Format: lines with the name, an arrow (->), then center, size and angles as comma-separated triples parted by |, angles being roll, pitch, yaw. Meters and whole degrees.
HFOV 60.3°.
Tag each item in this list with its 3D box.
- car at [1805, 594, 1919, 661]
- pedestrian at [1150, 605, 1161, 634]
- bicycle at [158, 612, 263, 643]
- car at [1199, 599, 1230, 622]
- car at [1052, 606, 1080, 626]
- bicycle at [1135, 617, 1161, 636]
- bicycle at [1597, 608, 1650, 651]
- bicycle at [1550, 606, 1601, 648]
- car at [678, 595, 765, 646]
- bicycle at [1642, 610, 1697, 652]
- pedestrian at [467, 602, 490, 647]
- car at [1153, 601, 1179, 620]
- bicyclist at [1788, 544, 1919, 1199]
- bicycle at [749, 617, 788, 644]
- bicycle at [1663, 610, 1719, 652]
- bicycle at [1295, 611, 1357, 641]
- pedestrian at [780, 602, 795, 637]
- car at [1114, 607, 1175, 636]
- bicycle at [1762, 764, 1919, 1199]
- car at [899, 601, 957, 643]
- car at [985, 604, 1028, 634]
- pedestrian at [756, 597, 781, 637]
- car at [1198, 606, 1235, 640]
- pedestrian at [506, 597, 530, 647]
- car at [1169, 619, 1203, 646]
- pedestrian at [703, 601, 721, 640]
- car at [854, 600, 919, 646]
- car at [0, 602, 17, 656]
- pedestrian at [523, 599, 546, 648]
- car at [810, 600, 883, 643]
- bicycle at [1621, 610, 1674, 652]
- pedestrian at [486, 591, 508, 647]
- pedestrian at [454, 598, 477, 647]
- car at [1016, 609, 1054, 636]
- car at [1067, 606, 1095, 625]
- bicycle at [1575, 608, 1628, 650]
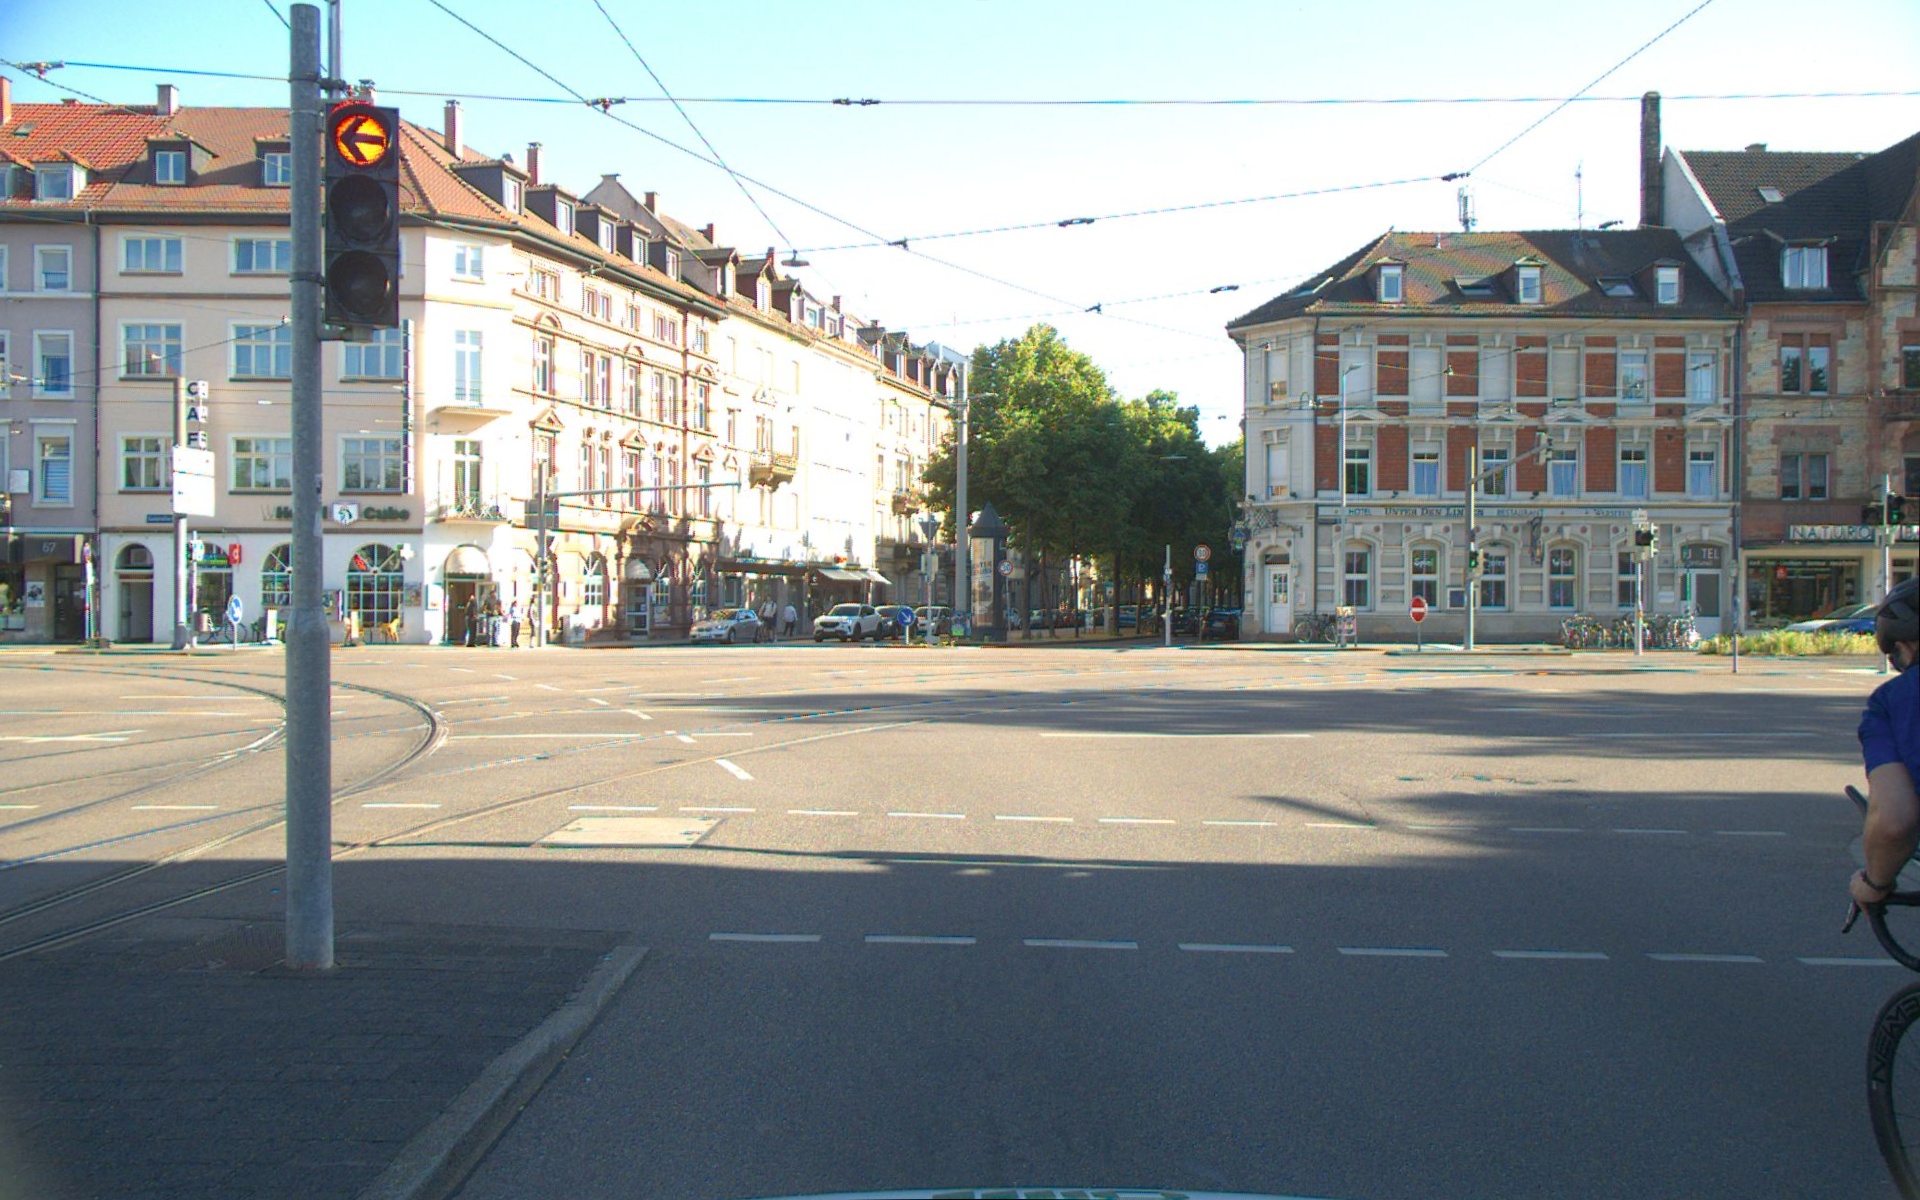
car -> 25.880, 0.768, 46.051 | 3.706, 1.809, 1.999 | 1, 0, -2
pedestrian -> 12.270, 1.203, 103.977 | 0.626, 1.827, 0.491 | 1, -1, 12
bicycle -> -25.520, 0.942, 56.352 | 3.066, 0.997, 1.001 | 1, 0, -1
car -> 18.572, 0.770, 120.481 | 1.734, 1.557, 4.002 | 1, 0, 16
car -> 8.481, 1.259, 132.164 | 1.526, 1.540, 3.658 | 1, 0, 16
bicycle -> 11.278, 1.572, 99.225 | 0.619, 1.104, 1.685 | 1, 0, -31
bicycle -> 21.303, 0.932, 53.151 | 0.615, 1.309, 2.661 | 1, 0, 0
bicycle -> 19.779, 0.847, 53.212 | 0.678, 1.309, 2.661 | 1, 0, 0
car -> -9.617, 0.817, 66.925 | 1.951, 1.937, 4.002 | 1, 0, 17
bicycle -> 22.796, 0.968, 53.178 | 0.615, 1.309, 2.661 | 1, 0, 0
pedestrian -> -16.243, 0.837, 55.785 | 0.620, 1.502, 0.465 | 1, -1, -5
car -> 16.808, 0.838, 134.931 | 1.526, 1.540, 3.658 | 1, 0, 16
bicyclist -> 2.215, 0.651, 3.357 | 0.625, 1.520, 0.884 | 1, 1, 3
bicycle -> -7.533, 1.206, 65.160 | 0.746, 1.025, 2.398 | 1, 0, 13
bicycle -> 23.480, 0.984, 53.176 | 0.615, 1.309, 2.661 | 1, 0, 0
bicycle -> 12.677, 0.909, 57.262 | 2.006, 1.015, 0.631 | 0, -1, 2
pedestrian -> -8.429, 0.952, 80.825 | 0.532, 1.660, 0.707 | 1, -1, 13
car -> 12.846, 1.466, 115.154 | 3.902, 1.937, 2.001 | 1, 0, 15
bicycle -> 2.220, 0.949, 3.137 | 0.613, 1.104, 1.703 | 1, 0, 2
car -> -1.506, 1.069, 79.820 | 1.951, 1.937, 4.003 | 1, 0, 11
car -> 3.176, 1.290, 112.738 | 1.951, 1.937, 4.002 | 1, 0, 16
pedestrian -> -7.545, 0.666, 65.089 | 0.803, 1.539, 0.598 | 1, -1, 14
car -> 12.864, 1.137, 82.778 | 1.655, 1.592, 3.844 | 1, 0, 11
pedestrian -> -14.863, 0.744, 55.673 | 0.620, 1.662, 0.700 | 1, -1, -4
car -> 12.651, 1.799, 92.471 | 1.716, 1.386, 3.859 | 1, 0, 10
pedestrian -> -10.841, 0.886, 72.292 | 0.532, 1.660, 0.707 | 1, -1, 13
car -> -3.240, 1.013, 73.575 | 1.951, 1.937, 4.003 | 1, 0, 11
car -> -32.389, 0.913, 52.430 | 3.902, 1.699, 2.002 | 0, 0, 8
pedestrian -> -14.678, 0.796, 57.019 | 0.620, 1.662, 0.700 | 1, -1, -4
car -> -4.572, 0.862, 67.191 | 1.951, 1.646, 4.003 | 1, 0, 11
bicycle -> 22.081, 0.968, 53.153 | 0.615, 1.309, 2.661 | 1, 0, 0
pedestrian -> -16.036, 0.643, 57.241 | 0.620, 1.914, 0.465 | 1, -1, -5
pedestrian -> -16.814, 0.774, 56.221 | 0.620, 1.640, 0.465 | 1, -1, -5
car -> 5.570, 1.656, 122.614 | 1.951, 1.937, 4.002 | 1, 0, 16
car -> 9.997, 1.289, 136.244 | 1.526, 1.540, 3.658 | 1, 0, 16
bicycle -> 20.593, 0.920, 53.129 | 0.678, 1.309, 2.661 | 1, 0, 0
